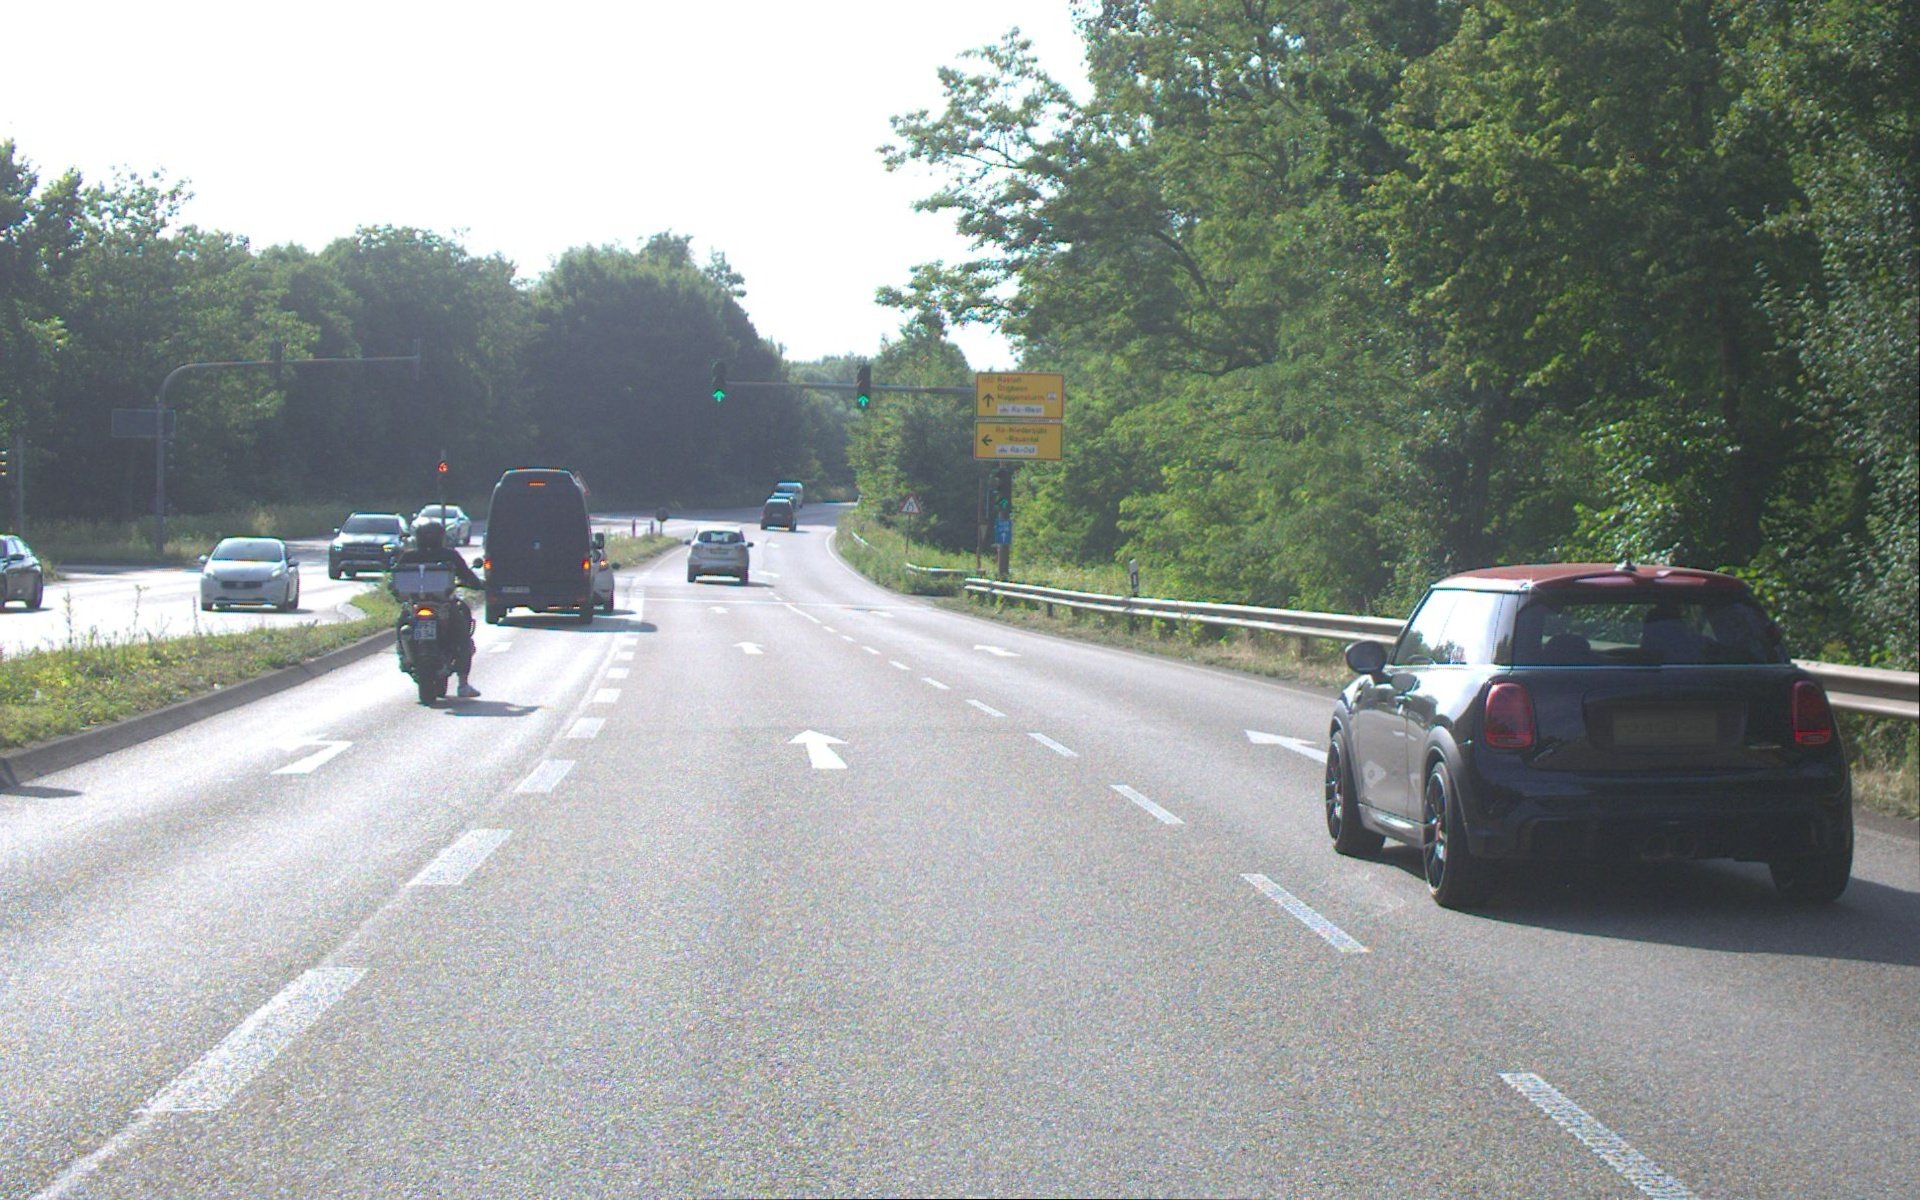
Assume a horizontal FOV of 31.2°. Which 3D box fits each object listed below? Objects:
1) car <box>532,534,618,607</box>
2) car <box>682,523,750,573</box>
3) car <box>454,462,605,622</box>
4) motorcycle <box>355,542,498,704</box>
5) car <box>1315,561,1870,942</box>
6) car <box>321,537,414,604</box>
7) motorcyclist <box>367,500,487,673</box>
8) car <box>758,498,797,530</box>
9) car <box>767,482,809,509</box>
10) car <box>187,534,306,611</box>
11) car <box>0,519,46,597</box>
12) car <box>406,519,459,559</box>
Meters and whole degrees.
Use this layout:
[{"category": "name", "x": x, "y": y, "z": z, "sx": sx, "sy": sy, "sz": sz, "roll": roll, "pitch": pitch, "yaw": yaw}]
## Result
[{"category": "car", "x": -8.137, "y": -0.645, "z": 72.915, "sx": 1.645, "sy": 1.484, "sz": 4.104, "roll": 0, "pitch": 1, "yaw": -4}, {"category": "car", "x": -7.314, "y": -1.575, "z": 103.294, "sx": 1.761, "sy": 1.375, "sz": 3.972, "roll": 2, "pitch": 1, "yaw": -1}, {"category": "car", "x": -8.102, "y": -1.118, "z": 65.282, "sx": 2.209, "sy": 2.878, "sz": 7.012, "roll": 0, "pitch": 1, "yaw": -2}, {"category": "motorcycle", "x": -5.147, "y": 0.193, "z": 33.325, "sx": 0.909, "sy": 1.448, "sz": 2.689, "roll": -2, "pitch": 2, "yaw": 0}, {"category": "car", "x": 2.732, "y": 0.586, "z": 15.718, "sx": 1.819, "sy": 1.462, "sz": 3.873, "roll": 1, "pitch": 1, "yaw": 0}, {"category": "car", "x": -16.322, "y": -0.847, "z": 94.925, "sx": 2.075, "sy": 1.757, "sz": 4.758, "roll": 0, "pitch": 1, "yaw": -5}, {"category": "motorcyclist", "x": -5.153, "y": -0.142, "z": 33.290, "sx": 0.884, "sy": 1.610, "sz": 1.290, "roll": 3, "pitch": 1, "yaw": 0}, {"category": "car", "x": -9.480, "y": -4.464, "z": 178.152, "sx": 1.744, "sy": 1.532, "sz": 3.927, "roll": 3, "pitch": 1, "yaw": -6}, {"category": "car", "x": -12.309, "y": -7.504, "z": 246.338, "sx": 1.851, "sy": 1.780, "sz": 4.668, "roll": 3, "pitch": 1, "yaw": 11}, {"category": "car", "x": -14.370, "y": -0.572, "z": 69.424, "sx": 1.788, "sy": 1.406, "sz": 4.228, "roll": 3, "pitch": 1, "yaw": -5}, {"category": "car", "x": -18.654, "y": -0.826, "z": 65.045, "sx": 1.788, "sy": 1.402, "sz": 4.755, "roll": 1, "pitch": 1, "yaw": -5}, {"category": "car", "x": -20.326, "y": -2.360, "z": 132.570, "sx": 1.883, "sy": 1.498, "sz": 4.266, "roll": 0, "pitch": 1, "yaw": -7}]
